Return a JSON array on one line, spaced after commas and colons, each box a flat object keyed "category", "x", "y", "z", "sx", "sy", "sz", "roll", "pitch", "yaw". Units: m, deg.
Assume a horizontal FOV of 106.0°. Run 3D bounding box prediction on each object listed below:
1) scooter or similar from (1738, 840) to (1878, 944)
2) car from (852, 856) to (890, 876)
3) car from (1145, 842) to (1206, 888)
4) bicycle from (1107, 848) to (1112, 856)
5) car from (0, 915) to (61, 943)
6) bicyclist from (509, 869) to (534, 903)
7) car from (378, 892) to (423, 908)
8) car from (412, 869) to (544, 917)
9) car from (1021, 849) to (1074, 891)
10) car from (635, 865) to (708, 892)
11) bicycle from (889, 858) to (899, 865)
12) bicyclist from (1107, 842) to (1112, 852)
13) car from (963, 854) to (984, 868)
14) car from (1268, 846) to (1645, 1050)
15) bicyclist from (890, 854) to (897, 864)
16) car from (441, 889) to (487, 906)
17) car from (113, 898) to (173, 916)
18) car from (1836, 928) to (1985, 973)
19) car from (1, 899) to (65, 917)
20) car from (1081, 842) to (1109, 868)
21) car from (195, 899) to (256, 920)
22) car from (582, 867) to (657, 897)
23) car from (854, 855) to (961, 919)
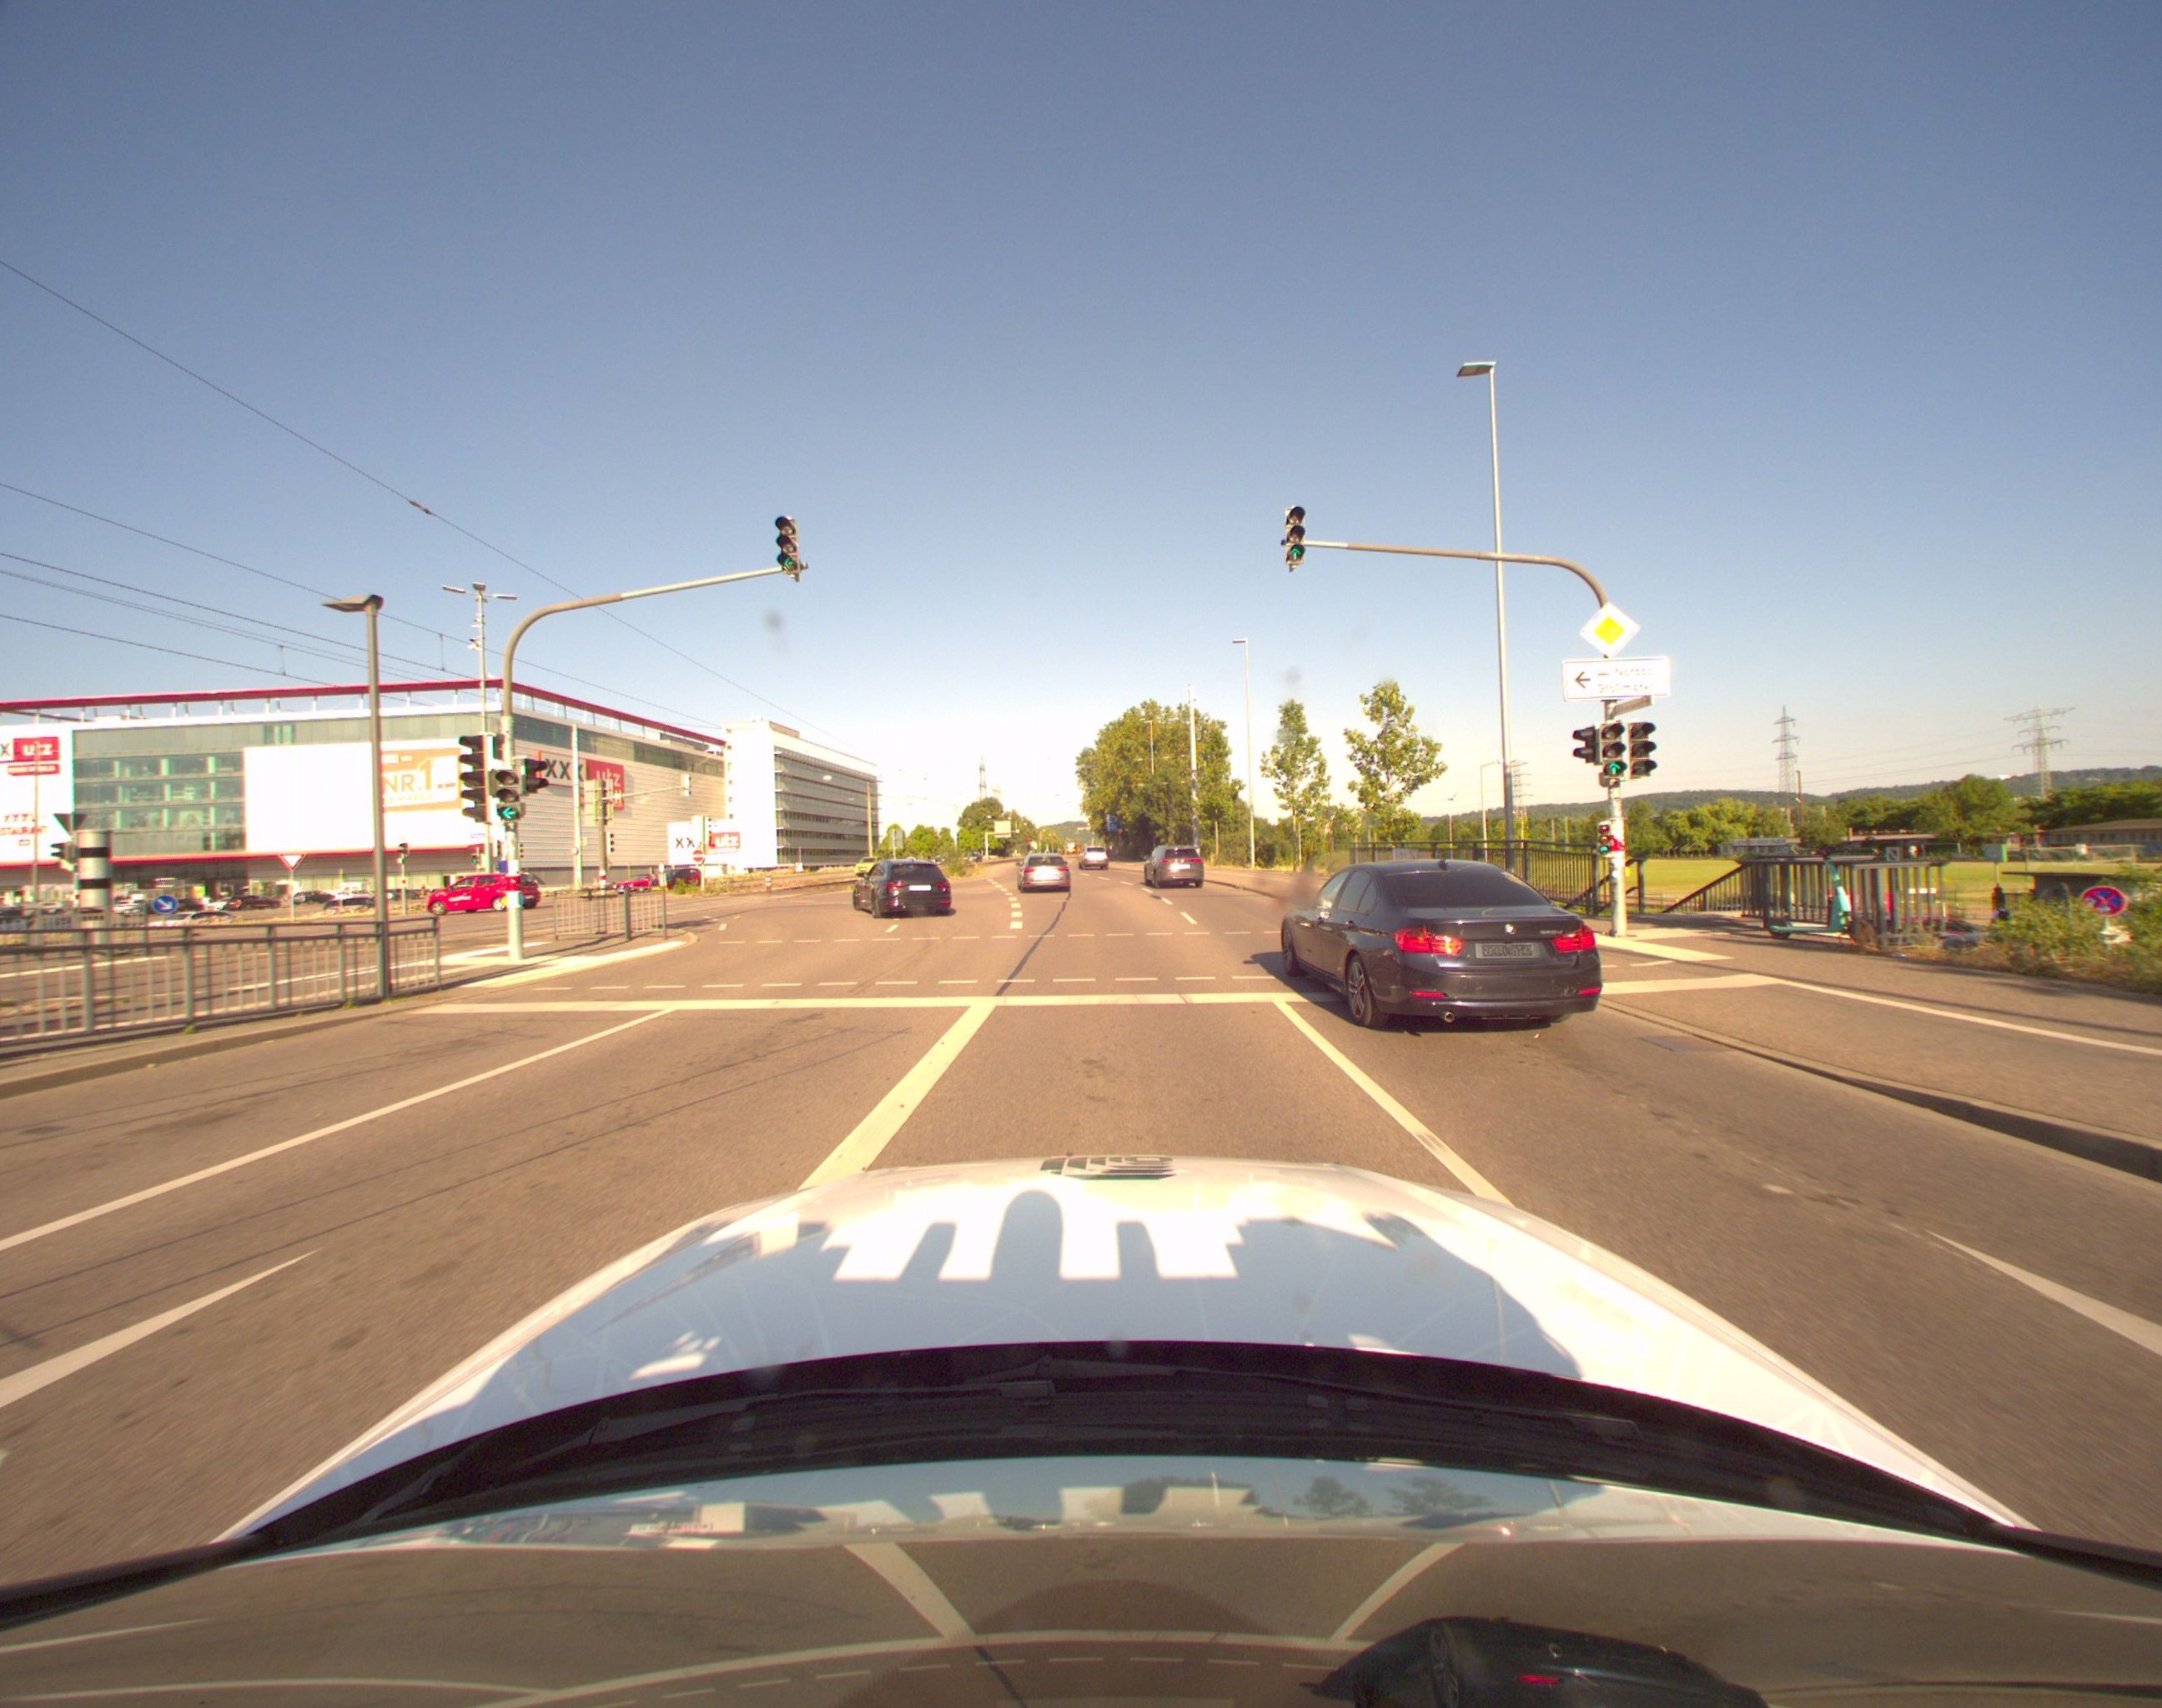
[{"category": "scooter or similar", "x": 9.365, "y": 0.464, "z": 10.541, "sx": 0.524, "sy": 1.231, "sz": 1.262, "roll": -2, "pitch": 0, "yaw": -11}, {"category": "car", "x": -17.243, "y": 0.944, "z": 66.939, "sx": 1.776, "sy": 1.447, "sz": 4.111, "roll": -3, "pitch": 1, "yaw": 3}, {"category": "car", "x": 3.631, "y": 0.377, "z": 32.053, "sx": 1.839, "sy": 1.661, "sz": 4.438, "roll": -1, "pitch": 1, "yaw": -1}, {"category": "bicycle", "x": 4.411, "y": -0.295, "z": 126.823, "sx": 0.620, "sy": 1.120, "sz": 1.814, "roll": -3, "pitch": 0, "yaw": 2}, {"category": "car", "x": -73.291, "y": 5.141, "z": 55.733, "sx": 1.924, "sy": 1.593, "sz": 3.998, "roll": 0, "pitch": 1, "yaw": -2}, {"category": "bicyclist", "x": -25.833, "y": 1.472, "z": 37.603, "sx": 0.584, "sy": 1.522, "sz": 0.753, "roll": 0, "pitch": 0, "yaw": 9}, {"category": "car", "x": -81.062, "y": 5.463, "z": 97.035, "sx": 1.914, "sy": 1.702, "sz": 4.001, "roll": 0, "pitch": 1, "yaw": 1}, {"category": "car", "x": -22.776, "y": 1.459, "z": 30.832, "sx": 3.562, "sy": 1.460, "sz": 1.771, "roll": -5, "pitch": -1, "yaw": 0}, {"category": "car", "x": -1.255, "y": 0.553, "z": 31.102, "sx": 1.861, "sy": 1.467, "sz": 4.662, "roll": 0, "pitch": 1, "yaw": -2}, {"category": "car", "x": -26.240, "y": 1.545, "z": 52.369, "sx": 1.922, "sy": 1.476, "sz": 4.145, "roll": -4, "pitch": 0, "yaw": 11}, {"category": "bicycle", "x": -28.018, "y": 1.150, "z": 121.910, "sx": 0.701, "sy": 1.073, "sz": 2.032, "roll": 0, "pitch": 1, "yaw": 9}, {"category": "bicyclist", "x": 4.402, "y": -1.029, "z": 126.891, "sx": 0.683, "sy": 1.508, "sz": 0.891, "roll": -2, "pitch": 0, "yaw": 1}, {"category": "car", "x": -14.889, "y": 0.937, "z": 112.974, "sx": 1.985, "sy": 1.655, "sz": 4.662, "roll": -3, "pitch": 1, "yaw": 3}, {"category": "car", "x": 3.298, "y": 0.676, "z": 8.311, "sx": 1.859, "sy": 1.467, "sz": 4.588, "roll": -1, "pitch": 1, "yaw": 2}, {"category": "bicyclist", "x": -28.010, "y": 0.713, "z": 121.957, "sx": 0.701, "sy": 1.512, "sz": 0.973, "roll": 0, "pitch": 0, "yaw": 8}, {"category": "car", "x": -72.414, "y": 5.054, "z": 95.655, "sx": 1.914, "sy": 1.702, "sz": 4.450, "roll": 0, "pitch": 1, "yaw": 1}, {"category": "car", "x": -100.000, "y": 5.612, "z": 86.886, "sx": 1.868, "sy": 1.619, "sz": 3.998, "roll": 0, "pitch": 1, "yaw": -2}, {"category": "car", "x": 25.456, "y": 2.947, "z": 25.049, "sx": 3.080, "sy": 1.216, "sz": 1.496, "roll": 0, "pitch": 0, "yaw": 0}, {"category": "car", "x": -113.092, "y": 5.762, "z": 87.925, "sx": 1.870, "sy": 1.619, "sz": 3.994, "roll": 0, "pitch": 1, "yaw": -4}, {"category": "car", "x": 1.001, "y": 0.050, "z": 58.058, "sx": 1.877, "sy": 1.795, "sz": 4.001, "roll": 0, "pitch": 1, "yaw": 1}, {"category": "car", "x": -88.206, "y": 5.681, "z": 84.039, "sx": 1.986, "sy": 1.814, "sz": 4.001, "roll": 0, "pitch": 1, "yaw": 1}, {"category": "car", "x": -30.095, "y": 1.807, "z": 53.247, "sx": 1.806, "sy": 1.642, "sz": 4.018, "roll": -4, "pitch": 1, "yaw": 16}, {"category": "car", "x": -4.632, "y": 0.785, "z": 21.268, "sx": 1.924, "sy": 1.458, "sz": 4.059, "roll": -1, "pitch": 0, "yaw": -24}]
